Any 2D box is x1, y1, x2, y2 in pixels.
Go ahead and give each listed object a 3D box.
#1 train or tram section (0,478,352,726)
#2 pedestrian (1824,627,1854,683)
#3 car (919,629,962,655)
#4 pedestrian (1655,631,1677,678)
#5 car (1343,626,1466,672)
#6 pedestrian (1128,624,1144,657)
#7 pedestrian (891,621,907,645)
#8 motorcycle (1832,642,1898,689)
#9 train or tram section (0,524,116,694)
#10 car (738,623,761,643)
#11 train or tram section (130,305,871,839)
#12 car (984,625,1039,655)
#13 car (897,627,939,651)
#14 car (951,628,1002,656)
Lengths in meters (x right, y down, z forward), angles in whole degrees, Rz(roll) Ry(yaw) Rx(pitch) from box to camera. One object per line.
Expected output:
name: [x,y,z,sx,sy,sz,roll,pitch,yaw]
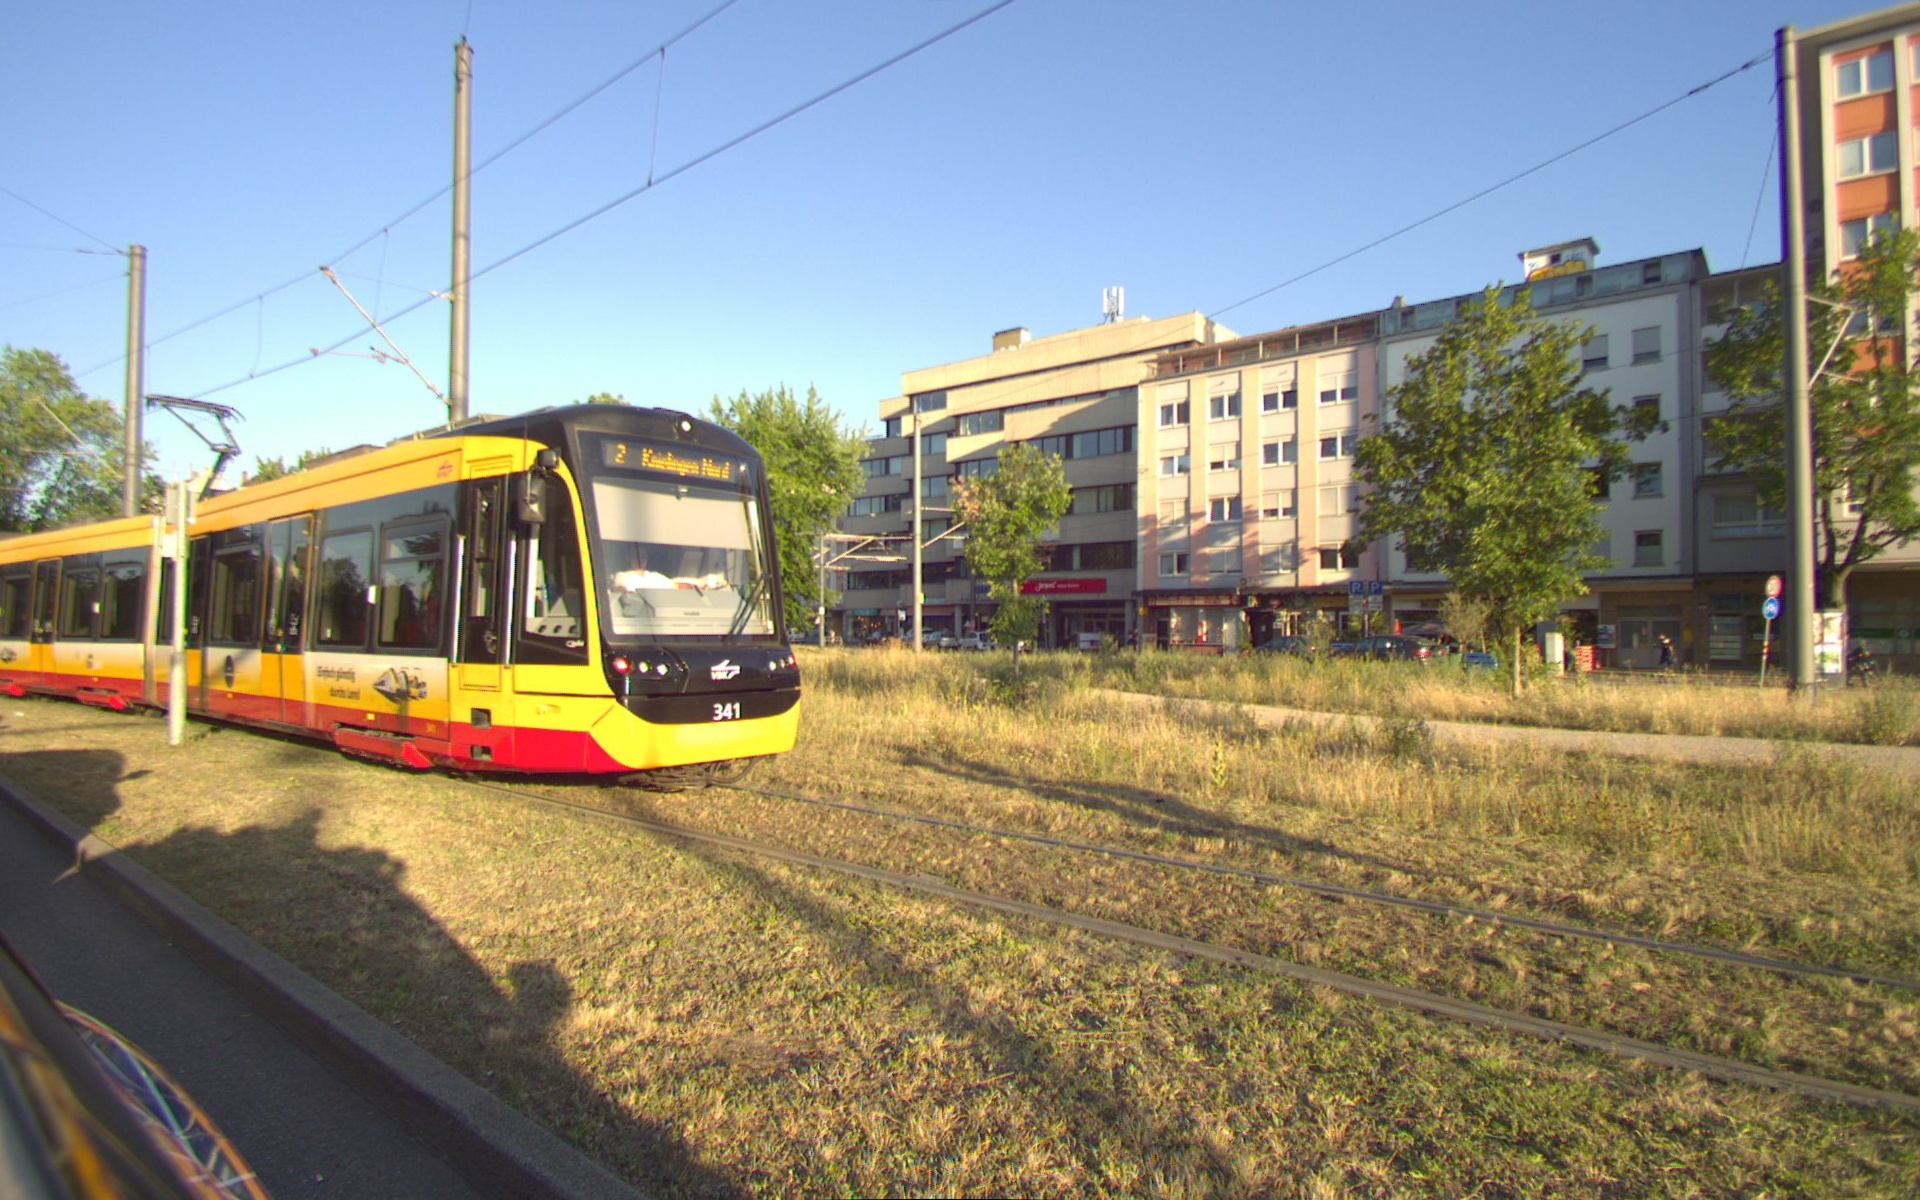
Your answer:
train or tram section: [-16.529,0.149,19.918,12.148,3.767,2.854,-1,-2,33]
pedestrian: [29.149,1.811,33.581,0.704,1.806,0.587,-2,-2,41]
car: [-1.523,3.140,77.052,1.965,1.893,4.013,1,-2,-23]
pedestrian: [27.403,2.100,39.279,0.630,1.782,0.589,-1,-2,41]
car: [17.270,1.883,39.515,1.965,1.697,4.012,1,-2,-28]
pedestrian: [10.486,2.430,60.201,0.700,1.949,0.683,-2,-2,41]
pedestrian: [-5.218,2.822,86.682,0.892,2.051,1.123,-2,-2,43]
motorcycle: [26.400,1.902,29.530,1.390,1.328,0.376,-2,-2,43]
train or tram section: [-26.328,0.294,25.836,12.132,3.767,2.888,-1,-2,28]
car: [-23.561,3.665,113.237,1.966,2.029,4.012,-1,0,-18]
train or tram section: [-6.793,-0.065,12.490,13.206,3.767,2.879,-1,-2,40]
car: [3.346,2.620,66.921,1.892,1.878,4.013,1,-2,-27]
car: [-3.448,3.127,81.962,1.965,1.951,4.013,1,-2,-25]
car: [1.117,2.937,71.493,1.965,1.893,4.013,1,-2,-27]
